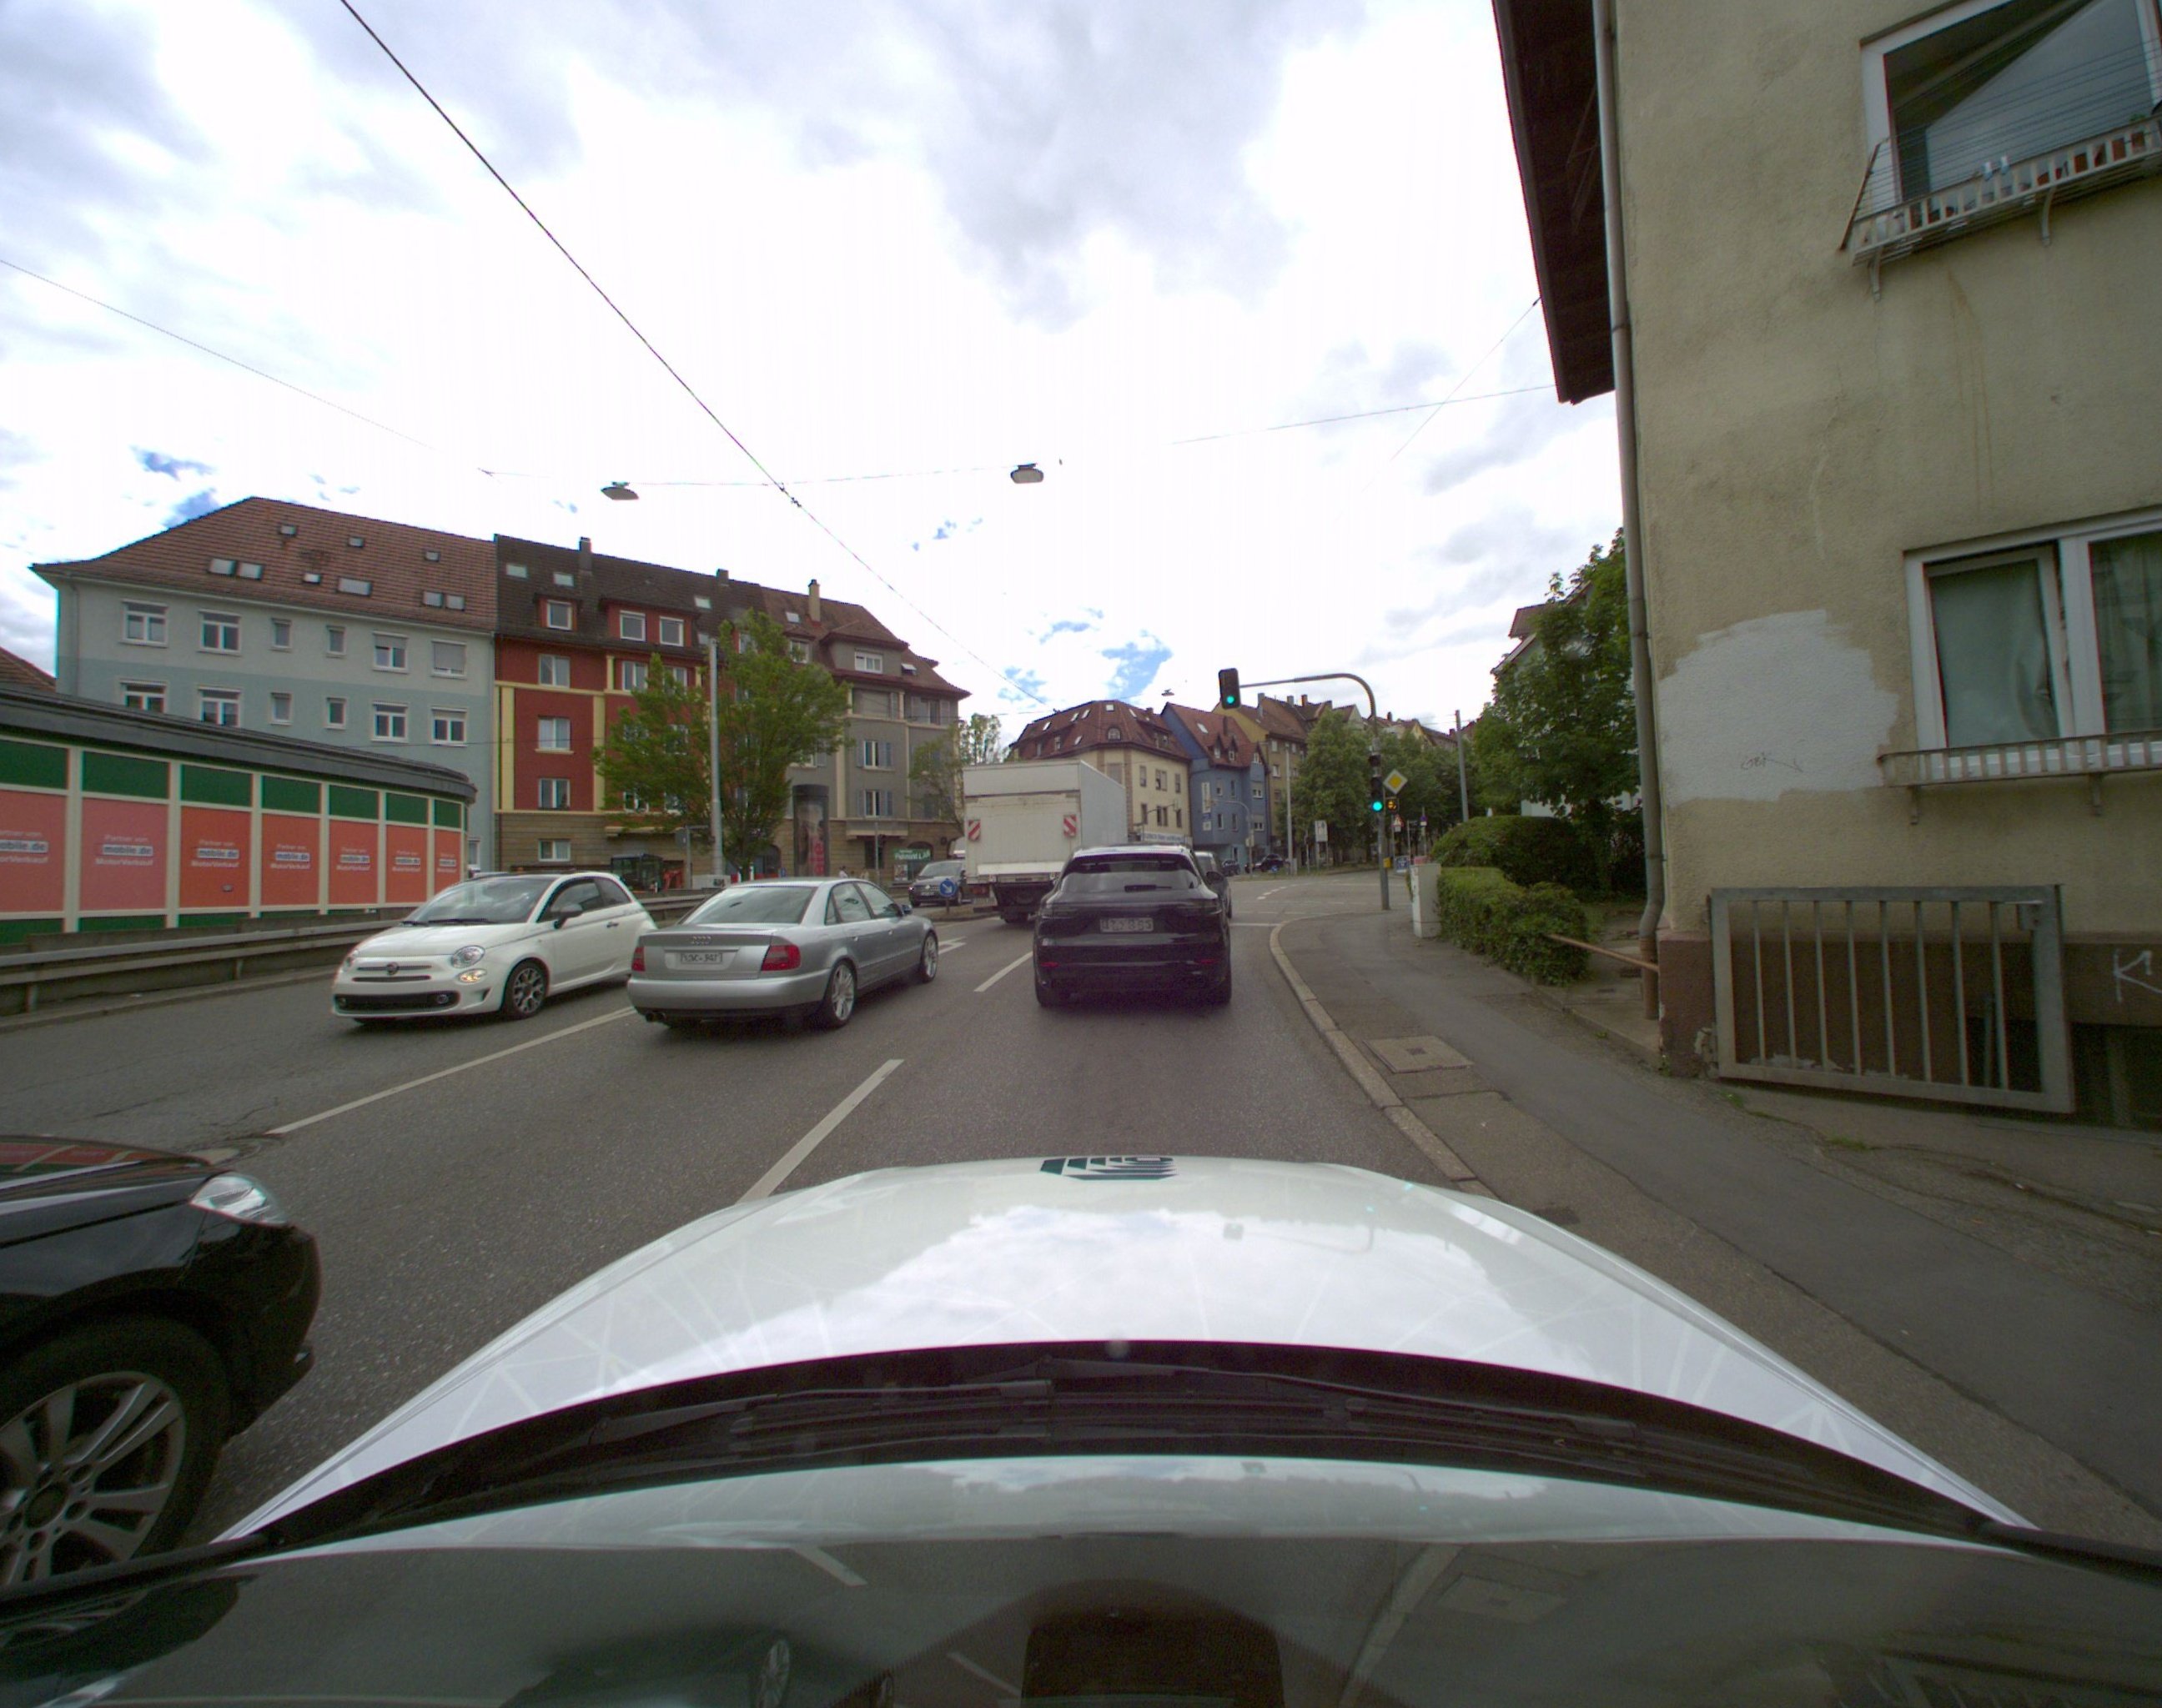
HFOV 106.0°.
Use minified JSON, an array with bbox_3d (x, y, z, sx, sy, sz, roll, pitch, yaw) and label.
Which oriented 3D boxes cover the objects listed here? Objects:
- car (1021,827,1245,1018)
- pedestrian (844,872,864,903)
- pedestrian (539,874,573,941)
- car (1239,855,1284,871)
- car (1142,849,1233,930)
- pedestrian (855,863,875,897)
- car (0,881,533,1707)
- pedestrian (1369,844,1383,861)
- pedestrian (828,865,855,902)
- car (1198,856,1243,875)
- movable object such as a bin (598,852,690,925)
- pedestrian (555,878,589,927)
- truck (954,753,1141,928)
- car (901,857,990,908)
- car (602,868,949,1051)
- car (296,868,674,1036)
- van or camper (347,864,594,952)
[{"bbox_3d":[0.536,0.615,9.679,2.024,1.723,4.501,-1,0,1],"label":"car"},{"bbox_3d":[-10.069,1.500,36.197,0.569,1.338,0.587,-2,-1,28],"label":"pedestrian"},{"bbox_3d":[-16.469,1.656,25.544,0.830,2.013,0.672,-1,0,-37],"label":"pedestrian"},{"bbox_3d":[16.639,0.812,74.932,1.852,1.416,4.727,-4,-3,42],"label":"car"},{"bbox_3d":[2.385,0.715,17.559,1.638,1.556,3.594,-1,-1,12],"label":"car"},{"bbox_3d":[-9.765,1.179,36.780,0.517,1.487,0.657,-2,0,24],"label":"pedestrian"},{"bbox_3d":[-2.876,0.822,0.268,1.986,1.429,4.844,-1,0,1],"label":"car"},{"bbox_3d":[35.954,-0.144,99.261,1.181,2.014,0.995,-2,-1,41],"label":"pedestrian"},{"bbox_3d":[-10.410,1.269,35.404,0.785,1.546,0.743,-1,0,29],"label":"pedestrian"},{"bbox_3d":[11.942,0.969,69.646,1.700,1.476,4.244,-4,-2,44],"label":"car"},{"bbox_3d":[-13.276,1.004,24.923,1.375,2.013,3.524,-2,0,-10],"label":"movable object such as a bin"},{"bbox_3d":[-14.774,1.391,23.648,0.594,1.363,0.630,-3,-1,35],"label":"pedestrian"},{"bbox_3d":[-0.420,-0.265,20.976,2.707,3.544,8.450,-1,0,12],"label":"truck"},{"bbox_3d":[-4.933,0.993,30.432,1.893,1.714,4.730,-1,0,8],"label":"car"},{"bbox_3d":[-2.826,0.897,8.637,1.619,1.365,4.137,-2,0,8],"label":"car"},{"bbox_3d":[-6.335,0.930,9.210,1.592,1.447,3.530,-2,-1,1],"label":"car"},{"bbox_3d":[-19.121,1.580,26.004,6.029,2.338,2.661,-1,-1,-33],"label":"van or camper"}]
